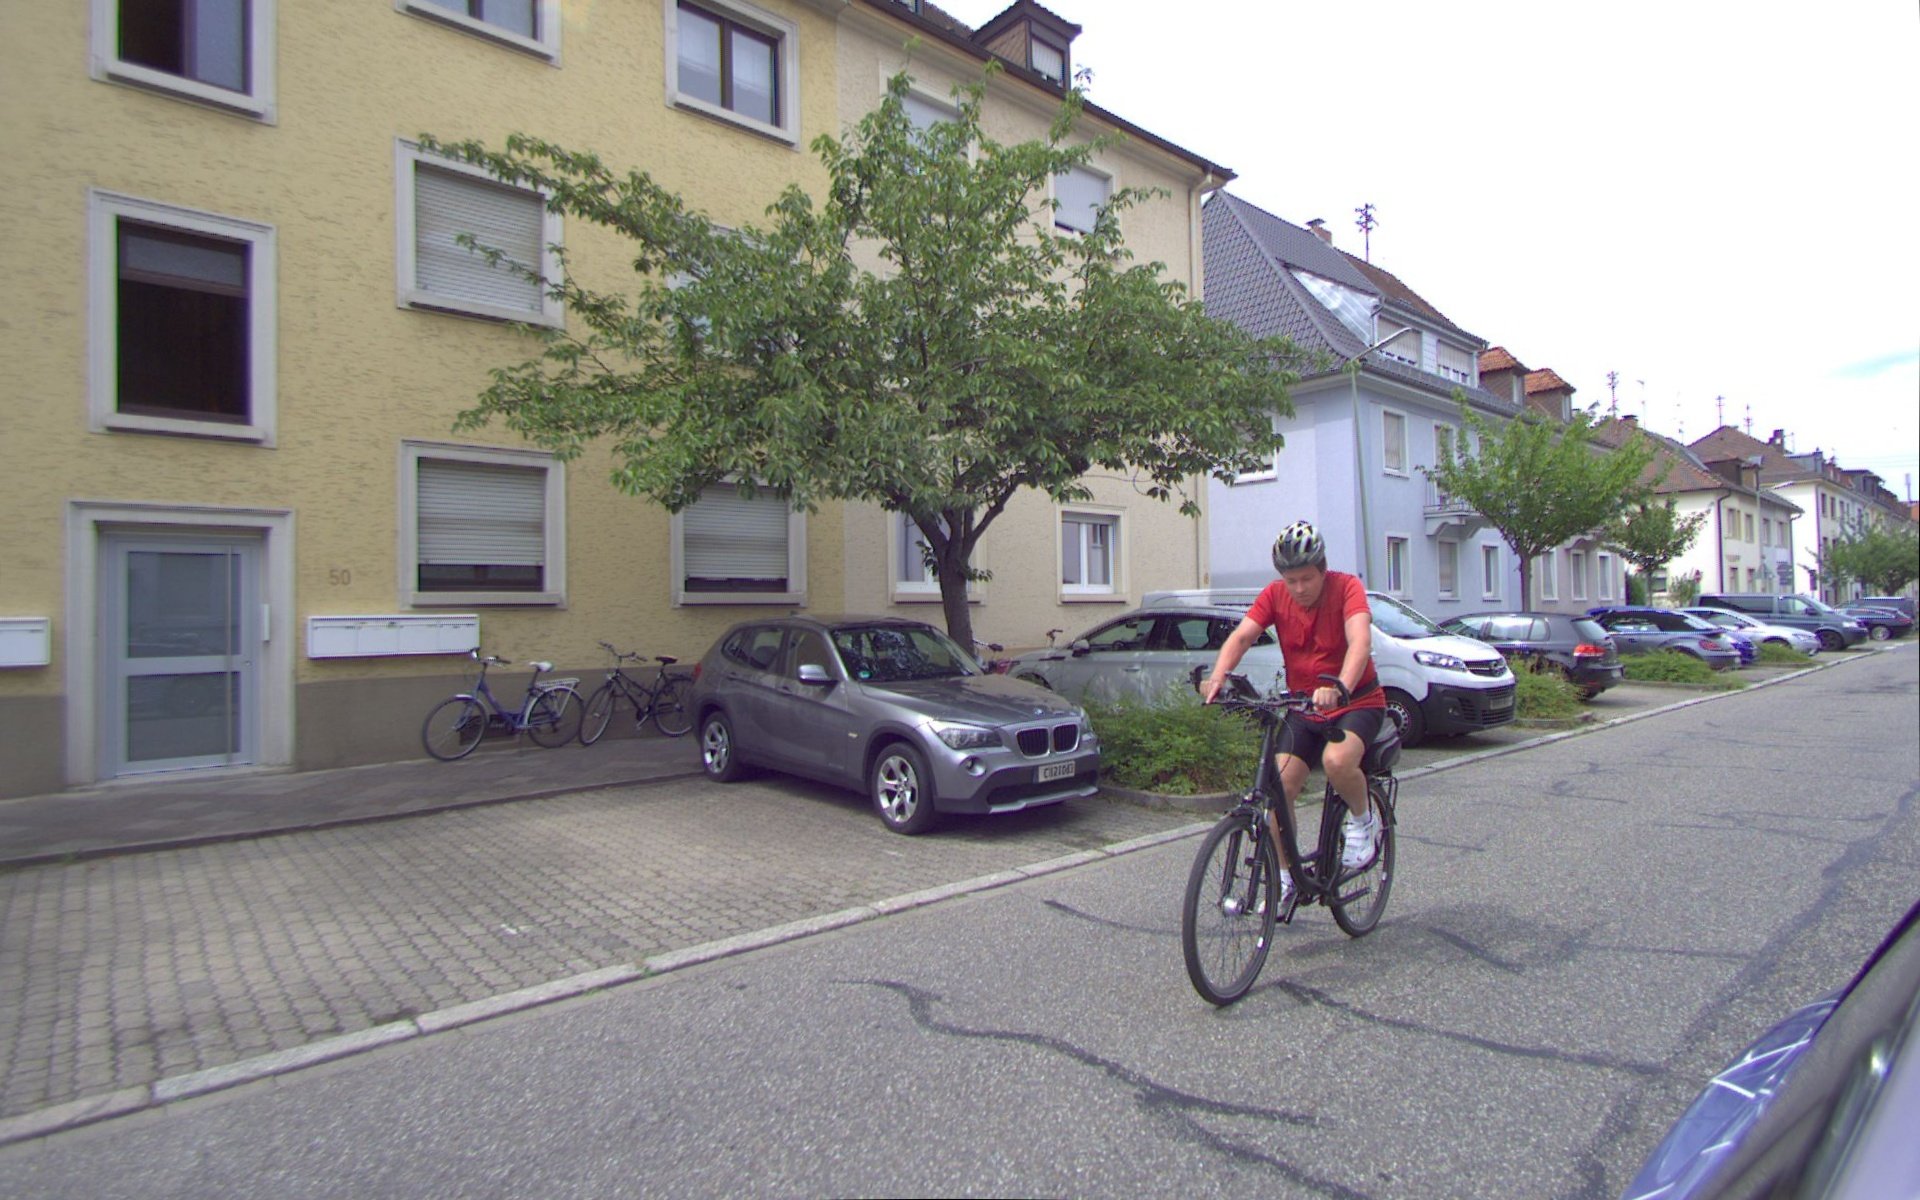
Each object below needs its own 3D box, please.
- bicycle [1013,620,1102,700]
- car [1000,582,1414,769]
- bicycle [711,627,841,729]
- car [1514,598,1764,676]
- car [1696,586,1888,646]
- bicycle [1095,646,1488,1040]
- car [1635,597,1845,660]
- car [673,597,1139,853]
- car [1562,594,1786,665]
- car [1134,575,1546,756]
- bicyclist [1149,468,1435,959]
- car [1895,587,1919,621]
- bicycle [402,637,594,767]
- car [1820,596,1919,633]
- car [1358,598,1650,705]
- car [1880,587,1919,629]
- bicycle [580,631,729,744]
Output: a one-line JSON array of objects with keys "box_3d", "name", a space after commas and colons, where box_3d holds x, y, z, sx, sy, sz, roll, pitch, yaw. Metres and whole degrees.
[{"box_3d": [1.577, 0.929, 16.175, 1.608, 1.154, 0.479, -1, 1, -43], "name": "bicycle"}, {"box_3d": [2.595, 0.686, 11.487, 1.818, 1.705, 4.315, 2, -1, -41], "name": "car"}, {"box_3d": [-2.286, 0.943, 12.717, 1.608, 1.154, 0.479, -1, 1, -43], "name": "bicycle"}, {"box_3d": [15.083, 0.747, 22.666, 1.681, 1.519, 4.398, -1, 1, -42], "name": "car"}, {"box_3d": [27.629, 0.477, 33.749, 1.838, 1.850, 4.716, -1, 1, -41], "name": "car"}, {"box_3d": [1.485, 0.861, 4.322, 1.903, 1.243, 0.692, -1, -2, -42], "name": "bicycle"}, {"box_3d": [21.720, 0.725, 28.330, 1.838, 1.556, 4.400, -1, 1, -41], "name": "car"}, {"box_3d": [-0.705, 0.804, 8.830, 1.818, 1.618, 4.315, -1, 1, -41], "name": "car"}, {"box_3d": [18.336, 0.675, 26.188, 1.835, 1.632, 4.406, -1, 1, -35], "name": "car"}, {"box_3d": [4.703, 0.663, 13.167, 1.818, 1.934, 4.746, -1, 1, -41], "name": "car"}, {"box_3d": [1.415, 0.416, 4.295, 0.969, 1.793, 0.693, -1, -2, -41], "name": "bicyclist"}, {"box_3d": [48.901, 0.193, 51.443, 3.384, 1.698, 1.643, 0, -2, -42], "name": "car"}, {"box_3d": [-4.731, 1.000, 10.440, 1.726, 1.154, 0.537, -1, 1, -43], "name": "bicycle"}, {"box_3d": [38.997, 0.621, 43.107, 1.620, 1.466, 3.433, 0, -2, -44], "name": "car"}, {"box_3d": [9.178, 0.770, 17.332, 1.681, 1.556, 4.114, -1, 1, -42], "name": "car"}, {"box_3d": [43.889, 0.344, 46.758, 3.384, 1.851, 1.643, 0, -2, -42], "name": "car"}, {"box_3d": [-3.506, 0.976, 11.709, 1.608, 1.154, 0.479, -1, 1, -43], "name": "bicycle"}]
